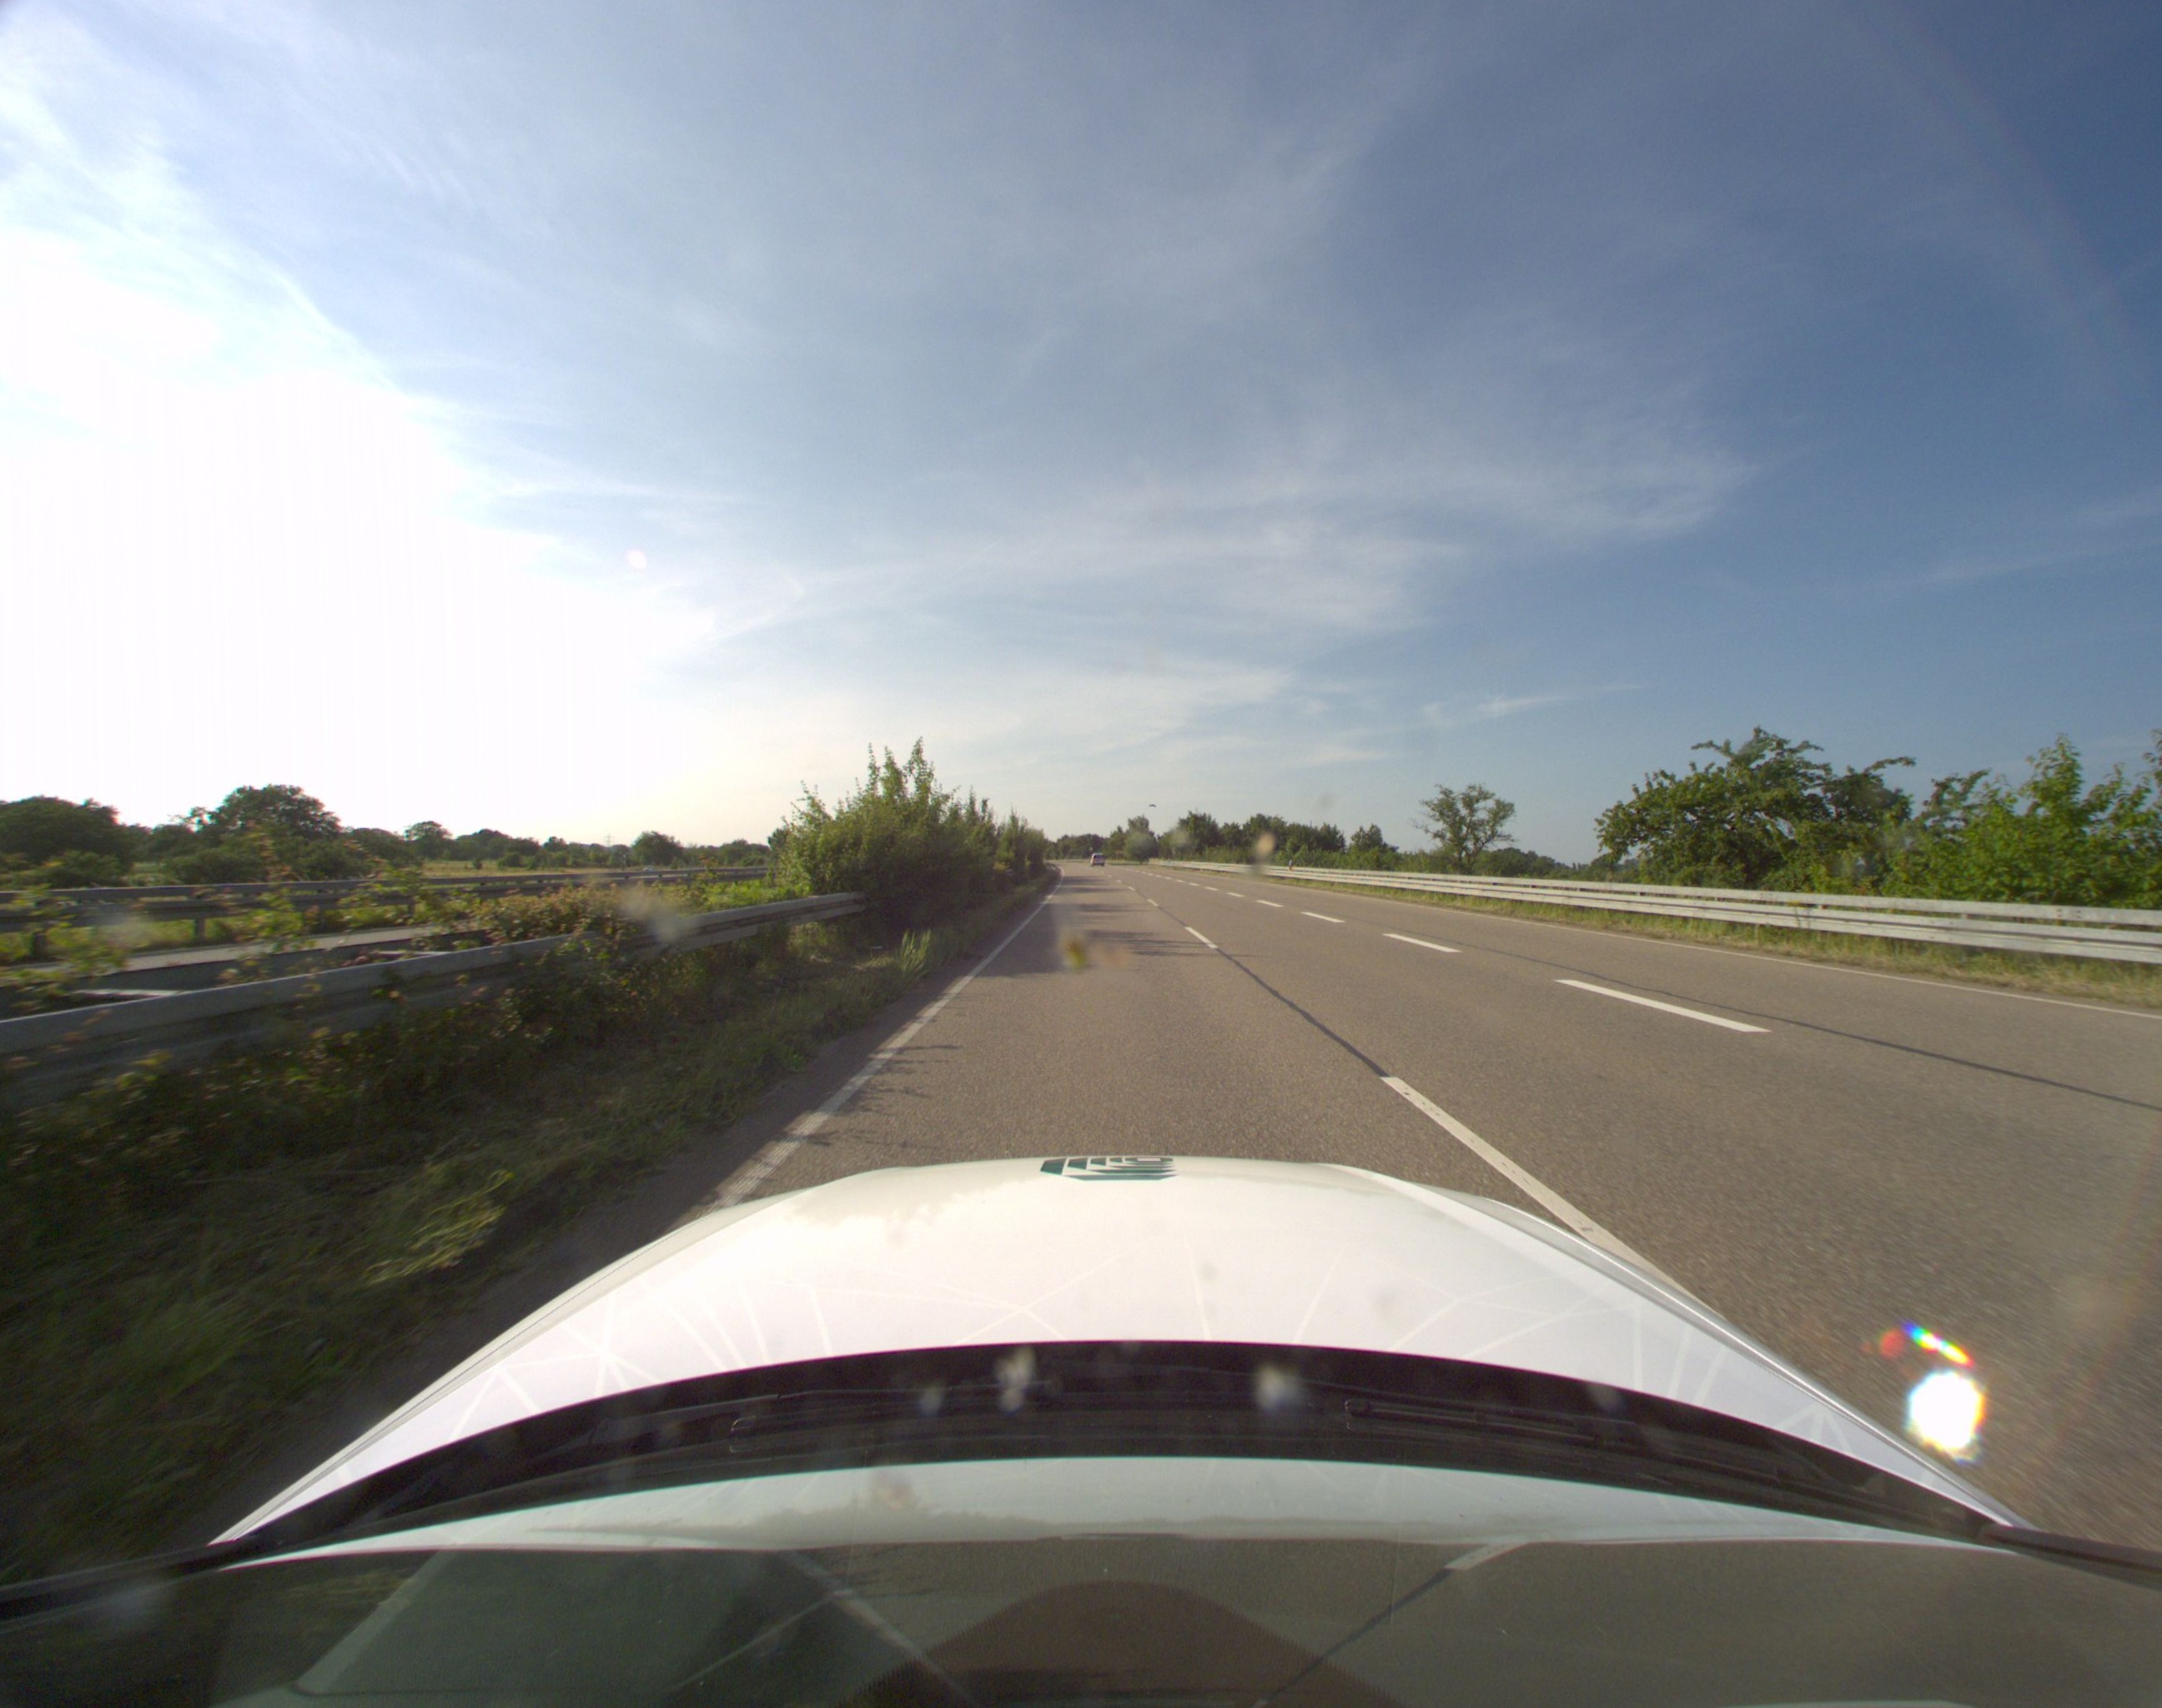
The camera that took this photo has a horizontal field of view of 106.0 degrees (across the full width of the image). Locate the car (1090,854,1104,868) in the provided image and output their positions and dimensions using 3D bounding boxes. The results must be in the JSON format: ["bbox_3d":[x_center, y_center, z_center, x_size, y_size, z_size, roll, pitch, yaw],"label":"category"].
[{"bbox_3d":[2.295,0.991,114.781,1.758,1.882,4.002,0,-1,3],"label":"car"}]
